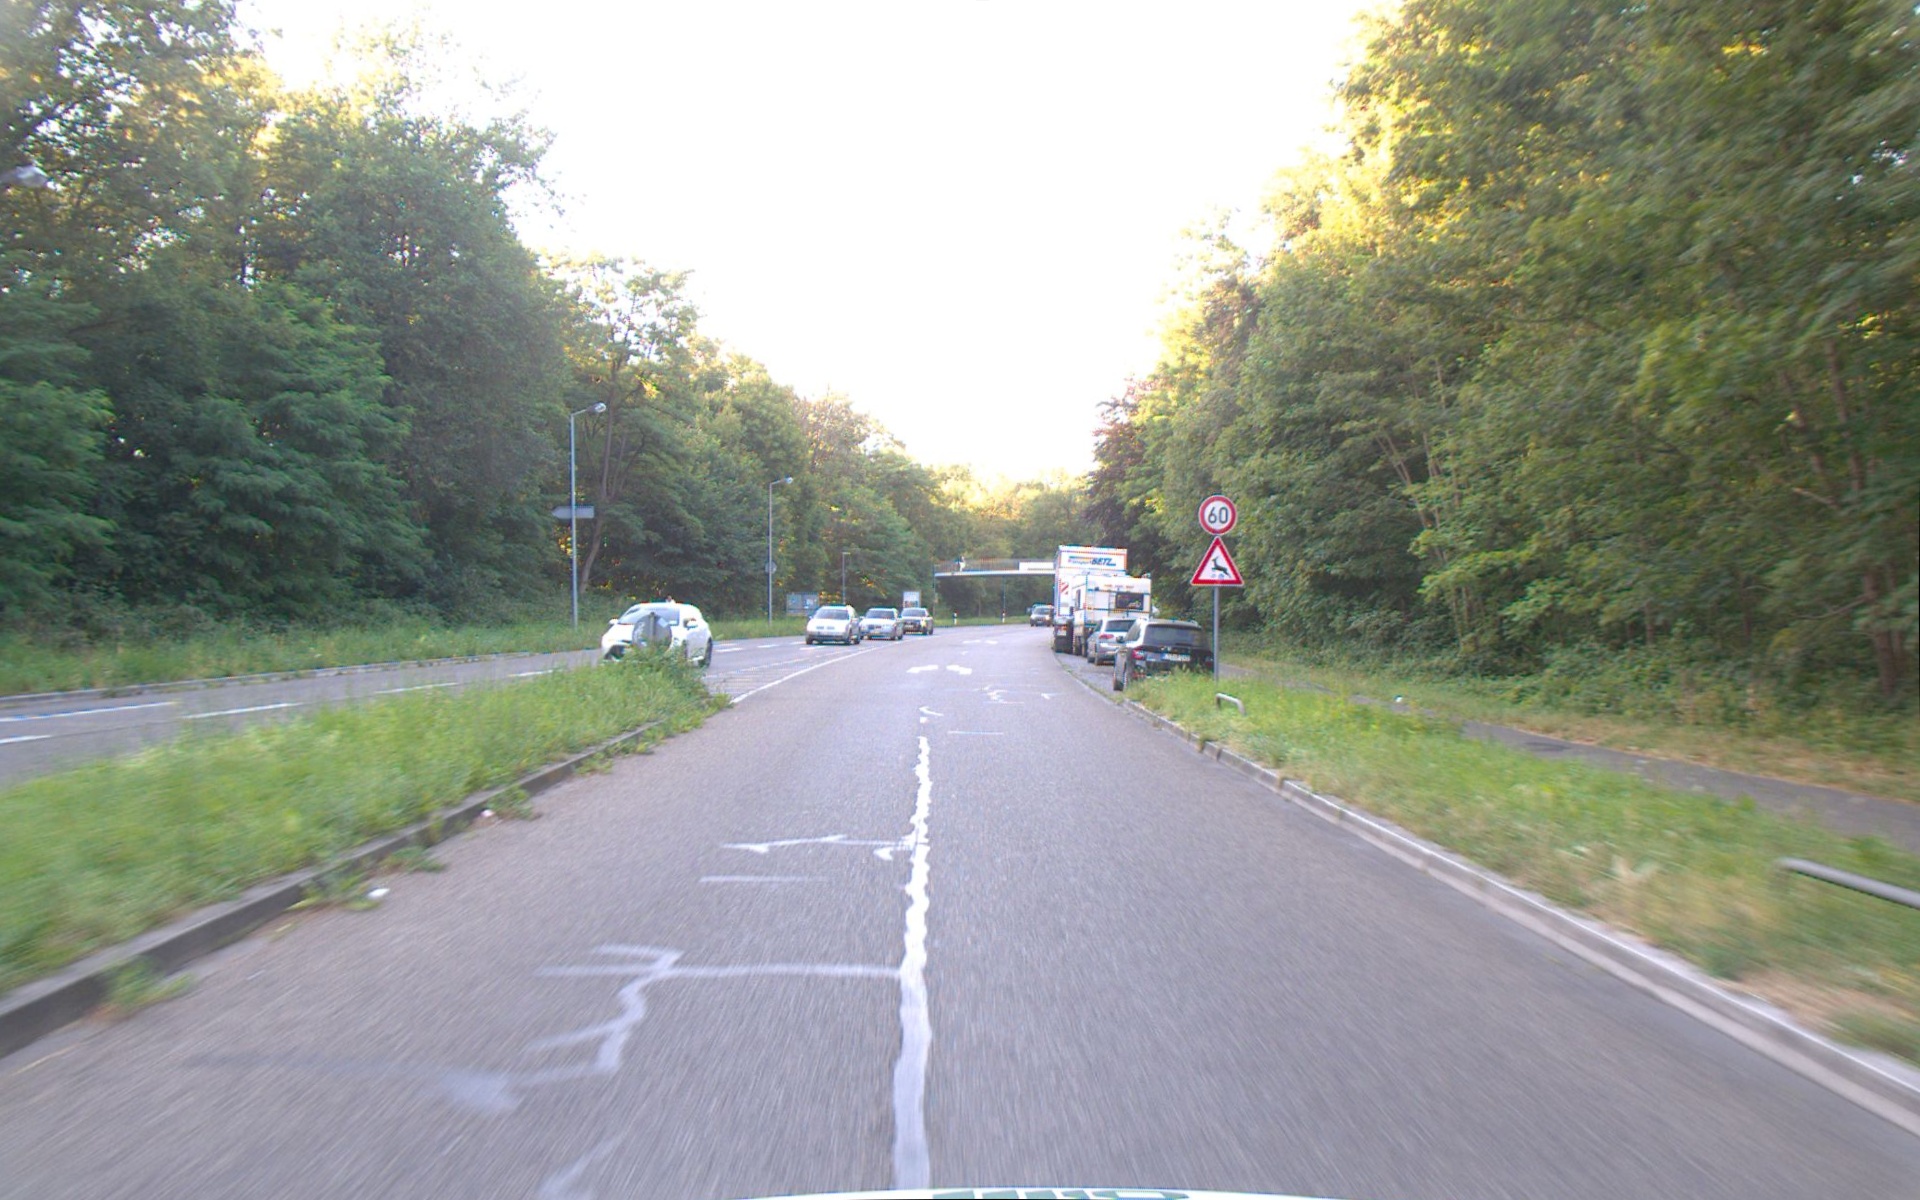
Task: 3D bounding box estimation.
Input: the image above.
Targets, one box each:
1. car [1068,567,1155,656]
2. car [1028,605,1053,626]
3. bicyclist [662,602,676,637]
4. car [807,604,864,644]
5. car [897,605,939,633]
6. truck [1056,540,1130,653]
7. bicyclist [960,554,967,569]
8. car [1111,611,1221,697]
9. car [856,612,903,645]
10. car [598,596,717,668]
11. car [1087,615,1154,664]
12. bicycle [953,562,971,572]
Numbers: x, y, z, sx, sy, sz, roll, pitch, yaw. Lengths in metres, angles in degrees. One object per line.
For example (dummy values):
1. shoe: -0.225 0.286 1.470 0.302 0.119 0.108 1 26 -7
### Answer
1. car: 5.240 0.398 57.937 2.359 2.908 5.931 1 -1 -1
2. car: 7.369 1.388 150.538 1.804 1.831 4.751 2 0 8
3. bicyclist: -13.003 0.860 73.948 0.609 1.537 0.845 0 1 -11
4. car: -4.770 0.913 63.996 1.680 1.471 4.175 0 0 3
5. car: -2.318 1.076 92.672 1.852 1.465 4.772 2 0 4
6. truck: 5.190 -0.109 65.950 2.602 4.098 9.725 1 0 3
7. bicyclist: 0.369 -4.022 173.121 0.650 1.609 0.548 1 -1 10
8. car: 3.819 0.983 31.242 1.629 1.430 3.943 3 -1 2
9. car: -3.646 1.286 75.795 1.684 1.422 4.376 1 0 3
10. car: -6.727 0.741 37.138 1.798 1.534 3.938 0 -2 2
11. car: 4.906 1.194 51.013 1.663 1.430 4.075 0 0 0
12. bicycle: 0.248 -3.444 173.139 1.805 0.965 0.551 2 -1 10
